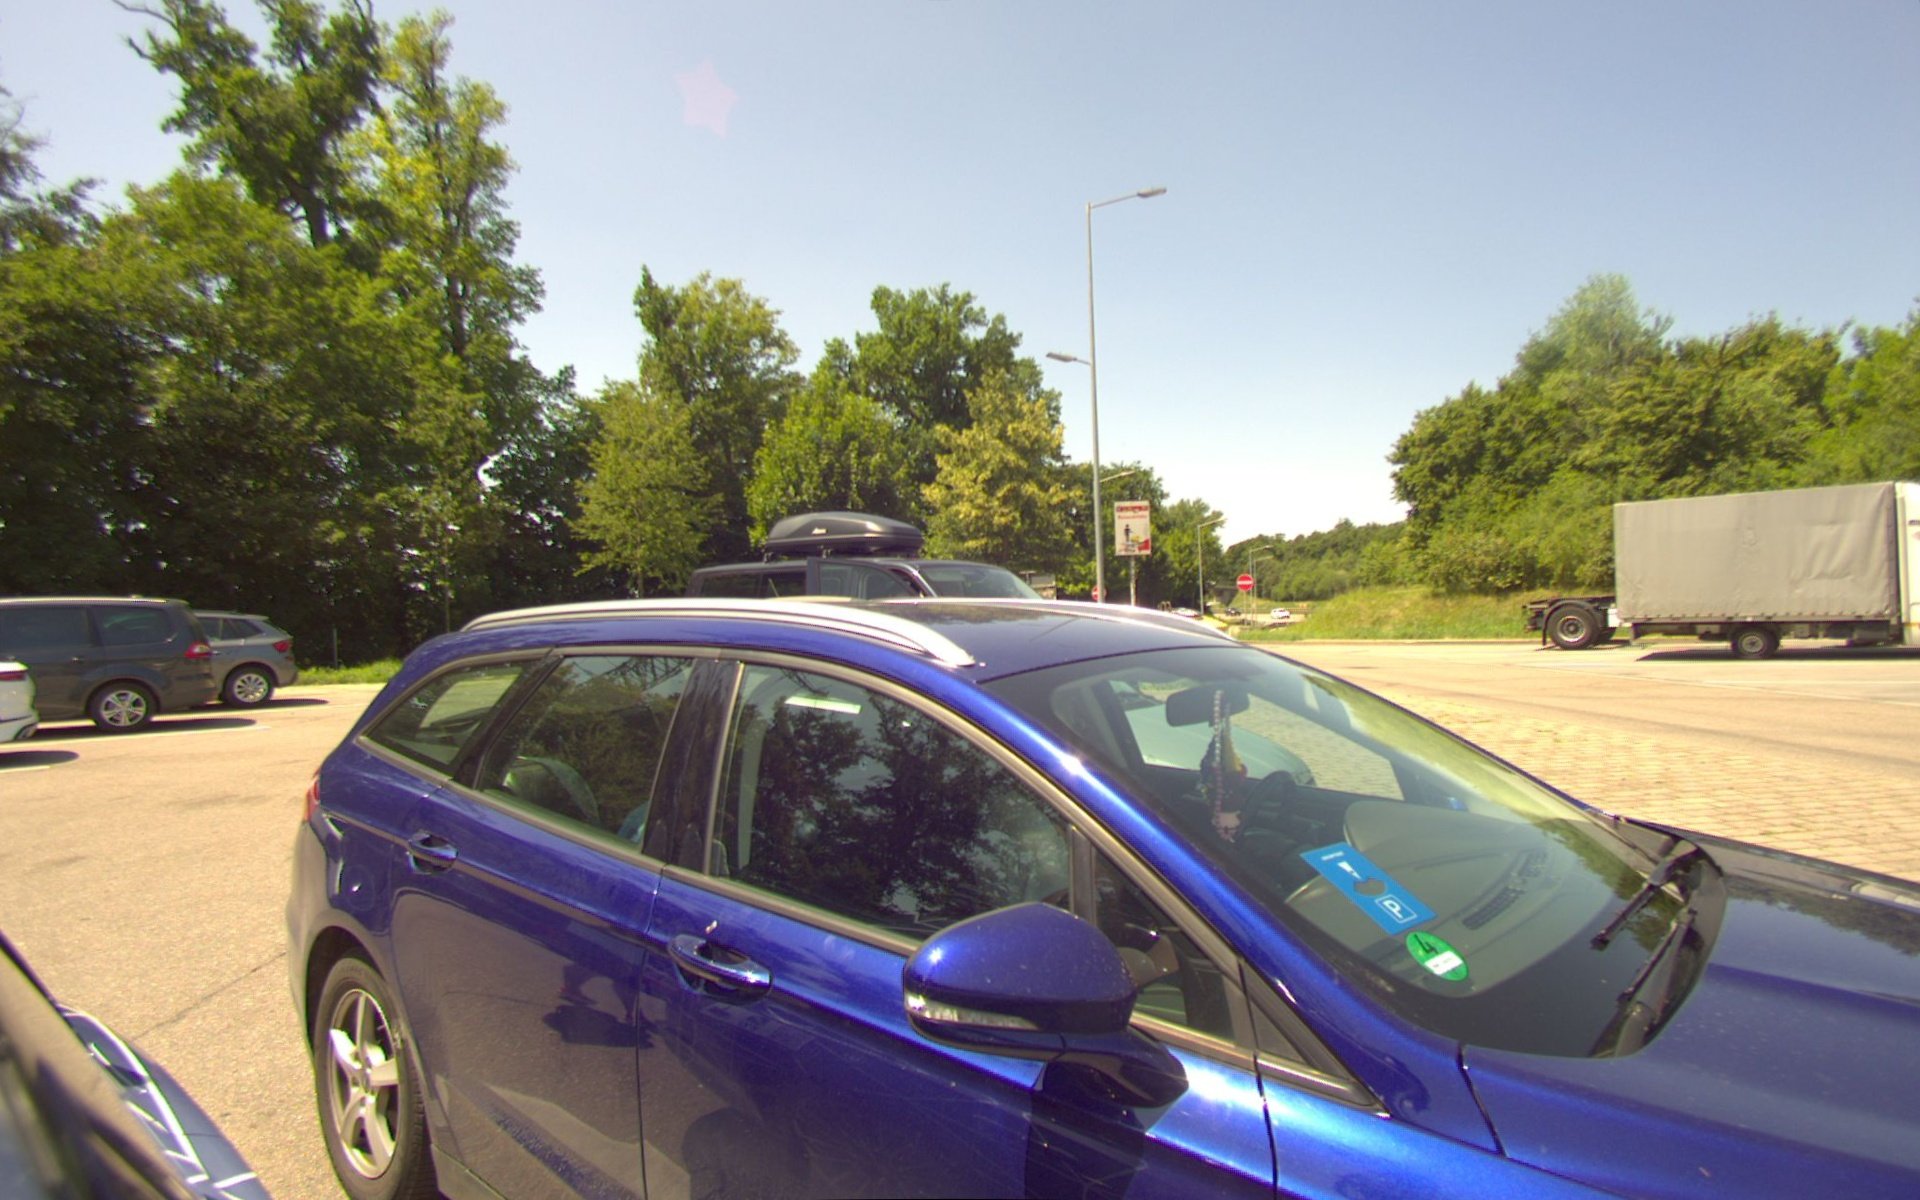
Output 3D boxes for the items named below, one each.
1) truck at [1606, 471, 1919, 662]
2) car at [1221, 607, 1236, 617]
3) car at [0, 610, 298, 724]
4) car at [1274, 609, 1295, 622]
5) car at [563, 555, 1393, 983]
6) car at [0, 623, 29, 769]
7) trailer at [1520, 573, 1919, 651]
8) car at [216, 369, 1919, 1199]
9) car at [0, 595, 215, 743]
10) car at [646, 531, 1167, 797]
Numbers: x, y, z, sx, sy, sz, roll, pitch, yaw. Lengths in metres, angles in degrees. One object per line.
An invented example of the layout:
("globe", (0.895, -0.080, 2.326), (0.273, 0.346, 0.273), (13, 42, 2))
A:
("truck", (16.702, -0.596, 18.939), (7.337, 3.235, 2.502), (-4, -1, 41))
("car", (50.372, 2.321, 189.821), (1.810, 1.785, 3.900), (-2, -1, 0))
("car", (-12.599, 0.953, 15.707), (3.762, 1.551, 1.724), (0, -1, -38))
("car", (49.172, 2.345, 153.506), (1.810, 1.785, 3.900), (-2, -1, 0))
("car", (-0.220, 0.670, 5.790), (4.637, 1.545, 1.720), (-2, 0, 39))
("car", (-11.001, 0.929, 9.163), (3.767, 1.396, 1.722), (0, -1, -44))
("trailer", (17.630, 0.318, 23.161), (8.088, 1.385, 2.200), (-4, -1, 41))
("car", (0.243, 0.632, 2.078), (4.637, 1.493, 1.720), (-2, -1, 39))
("car", (-11.660, 0.820, 12.627), (3.762, 1.737, 1.724), (0, -1, -38))
("car", (-0.664, 0.509, 9.364), (4.635, 1.884, 1.937), (-2, 0, 37))
